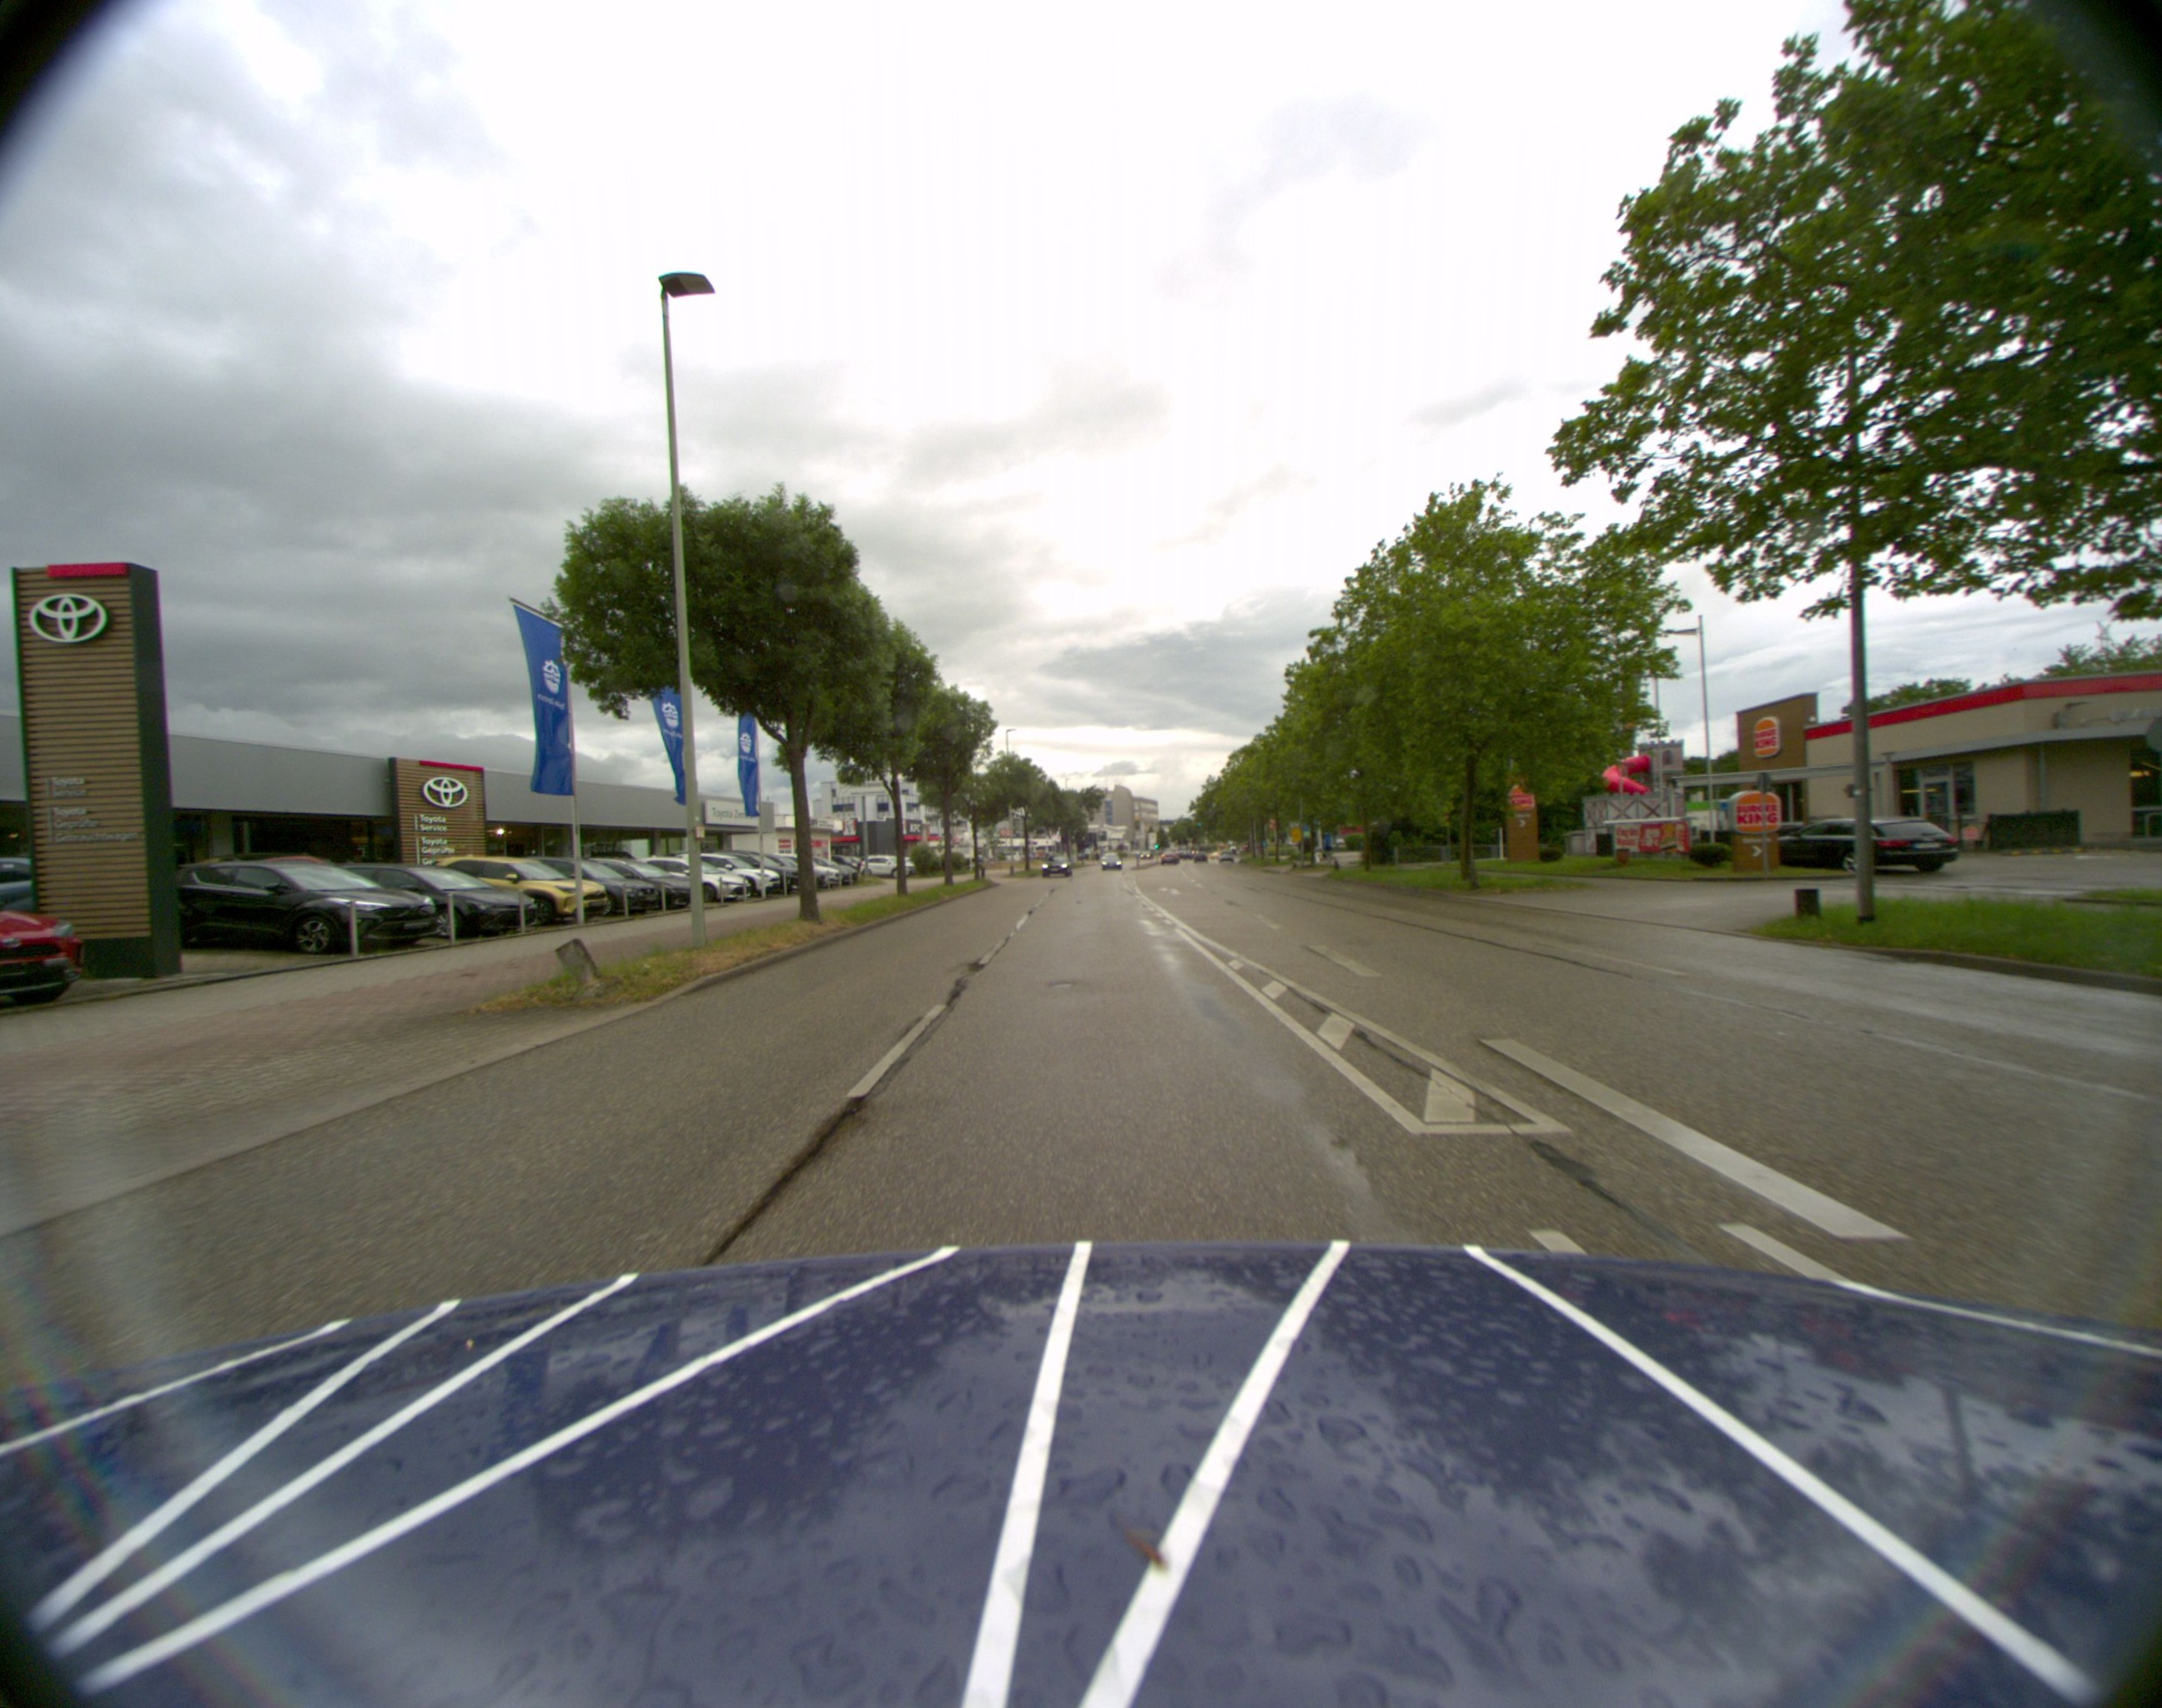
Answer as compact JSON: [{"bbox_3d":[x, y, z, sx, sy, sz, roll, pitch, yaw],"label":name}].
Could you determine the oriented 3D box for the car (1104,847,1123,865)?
[{"bbox_3d":[3.172,0.173,74.273,1.800,1.624,4.551,-1,2,3],"label":"car"}]

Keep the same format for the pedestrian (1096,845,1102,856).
[{"bbox_3d":[3.365,-0.666,139.398,0.817,2.002,0.696,-1,2,-25],"label":"pedestrian"}]

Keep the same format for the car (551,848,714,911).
[{"bbox_3d":[-13.724,0.751,23.390,3.995,1.776,1.812,1,1,4],"label":"car"}]

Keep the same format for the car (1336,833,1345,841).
[{"bbox_3d":[59.994,-3.927,175.828,1.694,1.636,3.967,-1,0,17],"label":"car"}]

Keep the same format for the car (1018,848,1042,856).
[{"bbox_3d":[-9.966,-0.433,148.508,4.366,1.386,1.826,-1,1,18],"label":"car"}]

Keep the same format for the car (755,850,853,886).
[{"bbox_3d":[-13.354,0.667,36.758,3.995,1.535,1.812,2,1,4],"label":"car"}]

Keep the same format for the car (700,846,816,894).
[{"bbox_3d":[-13.418,0.629,31.674,3.995,1.776,1.812,3,1,4],"label":"car"}]

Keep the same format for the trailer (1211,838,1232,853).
[{"bbox_3d":[25.359,-1.465,137.282,2.306,2.459,7.983,-4,-1,20],"label":"trailer"}]

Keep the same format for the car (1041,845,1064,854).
[{"bbox_3d":[-5.943,-0.923,160.456,4.366,1.895,1.899,-1,1,18],"label":"car"}]

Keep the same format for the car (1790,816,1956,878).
[{"bbox_3d":[20.895,-0.250,20.222,1.436,1.419,3.192,-3,3,10],"label":"car"}]

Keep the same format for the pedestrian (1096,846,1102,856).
[{"bbox_3d":[3.404,-0.550,141.508,0.817,1.765,0.695,-1,2,-25],"label":"pedestrian"}]

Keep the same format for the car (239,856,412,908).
[{"bbox_3d":[-24.293,0.866,24.501,3.996,1.527,1.674,-1,1,4],"label":"car"}]

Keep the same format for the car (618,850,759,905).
[{"bbox_3d":[-13.765,0.796,26.764,3.995,1.776,1.812,-2,1,4],"label":"car"}]

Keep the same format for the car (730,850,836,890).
[{"bbox_3d":[-13.374,0.685,34.241,3.995,1.576,1.812,2,1,4],"label":"car"}]

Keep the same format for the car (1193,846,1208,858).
[{"bbox_3d":[15.868,-0.253,101.047,1.997,1.499,4.735,-1,-2,8],"label":"car"}]

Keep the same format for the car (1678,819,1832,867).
[{"bbox_3d":[20.115,-0.315,22.776,3.181,1.148,1.291,-5,0,10],"label":"car"}]

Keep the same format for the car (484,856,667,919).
[{"bbox_3d":[-13.913,0.890,21.033,3.995,1.538,1.711,1,1,4],"label":"car"}]

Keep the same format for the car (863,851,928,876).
[{"bbox_3d":[-13.269,0.692,54.458,4.059,1.588,1.988,-2,0,23],"label":"car"}]

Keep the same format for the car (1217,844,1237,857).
[{"bbox_3d":[18.260,-0.445,95.307,1.932,1.610,4.399,-1,1,5],"label":"car"}]

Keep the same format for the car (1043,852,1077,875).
[{"bbox_3d":[-1.461,0.666,55.305,1.899,1.544,4.594,-1,0,6],"label":"car"}]

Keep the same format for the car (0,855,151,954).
[{"bbox_3d":[-18.840,0.854,12.497,1.878,1.612,4.123,0,1,3],"label":"car"}]

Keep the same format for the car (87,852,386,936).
[{"bbox_3d":[-18.295,0.772,16.811,1.878,1.612,4.123,0,1,3],"label":"car"}]

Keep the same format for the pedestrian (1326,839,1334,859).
[{"bbox_3d":[21.274,-0.446,64.842,0.513,1.673,0.540,-1,1,4],"label":"pedestrian"}]

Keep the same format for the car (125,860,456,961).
[{"bbox_3d":[-13.847,0.942,13.482,3.996,1.638,1.845,0,1,2],"label":"car"}]

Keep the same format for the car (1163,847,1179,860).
[{"bbox_3d":[10.999,-0.073,92.960,1.815,1.553,4.600,-1,1,7],"label":"car"}]

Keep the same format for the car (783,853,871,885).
[{"bbox_3d":[-13.032,0.737,39.145,3.842,1.453,1.828,2,1,2],"label":"car"}]

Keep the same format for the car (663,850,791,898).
[{"bbox_3d":[-13.592,0.750,29.341,3.997,1.578,1.812,3,0,1],"label":"car"}]

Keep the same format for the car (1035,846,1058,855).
[{"bbox_3d":[-7.150,-0.799,158.442,4.366,1.754,1.899,-1,1,18],"label":"car"}]

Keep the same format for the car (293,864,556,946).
[{"bbox_3d":[-13.679,1.029,15.998,3.996,1.530,1.800,-1,1,2],"label":"car"}]

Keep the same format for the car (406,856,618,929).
[{"bbox_3d":[-13.727,0.906,18.484,3.848,1.557,1.666,2,1,0],"label":"car"}]

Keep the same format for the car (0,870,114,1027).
[{"bbox_3d":[-13.163,0.982,7.979,3.850,1.594,1.795,1,1,2],"label":"car"}]

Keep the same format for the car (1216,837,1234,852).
[{"bbox_3d":[26.803,-1.760,141.418,2.242,2.459,5.022,-4,-1,20],"label":"car"}]

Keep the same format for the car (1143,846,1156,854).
[{"bbox_3d":[13.135,-0.715,145.498,1.752,1.455,4.003,-2,1,13],"label":"car"}]

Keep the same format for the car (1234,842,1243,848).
[{"bbox_3d":[38.130,-2.278,183.977,1.785,1.396,4.005,-1,0,16],"label":"car"}]

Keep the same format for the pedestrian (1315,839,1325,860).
[{"bbox_3d":[20.389,-0.421,64.834,0.665,1.756,0.584,-2,1,25],"label":"pedestrian"}]

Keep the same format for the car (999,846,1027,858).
[{"bbox_3d":[-12.586,-0.372,140.414,4.777,2.002,2.003,-1,0,19],"label":"car"}]

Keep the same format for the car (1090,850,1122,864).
[{"bbox_3d":[3.232,0.383,98.876,4.007,1.544,1.897,-4,0,-45],"label":"car"}]
